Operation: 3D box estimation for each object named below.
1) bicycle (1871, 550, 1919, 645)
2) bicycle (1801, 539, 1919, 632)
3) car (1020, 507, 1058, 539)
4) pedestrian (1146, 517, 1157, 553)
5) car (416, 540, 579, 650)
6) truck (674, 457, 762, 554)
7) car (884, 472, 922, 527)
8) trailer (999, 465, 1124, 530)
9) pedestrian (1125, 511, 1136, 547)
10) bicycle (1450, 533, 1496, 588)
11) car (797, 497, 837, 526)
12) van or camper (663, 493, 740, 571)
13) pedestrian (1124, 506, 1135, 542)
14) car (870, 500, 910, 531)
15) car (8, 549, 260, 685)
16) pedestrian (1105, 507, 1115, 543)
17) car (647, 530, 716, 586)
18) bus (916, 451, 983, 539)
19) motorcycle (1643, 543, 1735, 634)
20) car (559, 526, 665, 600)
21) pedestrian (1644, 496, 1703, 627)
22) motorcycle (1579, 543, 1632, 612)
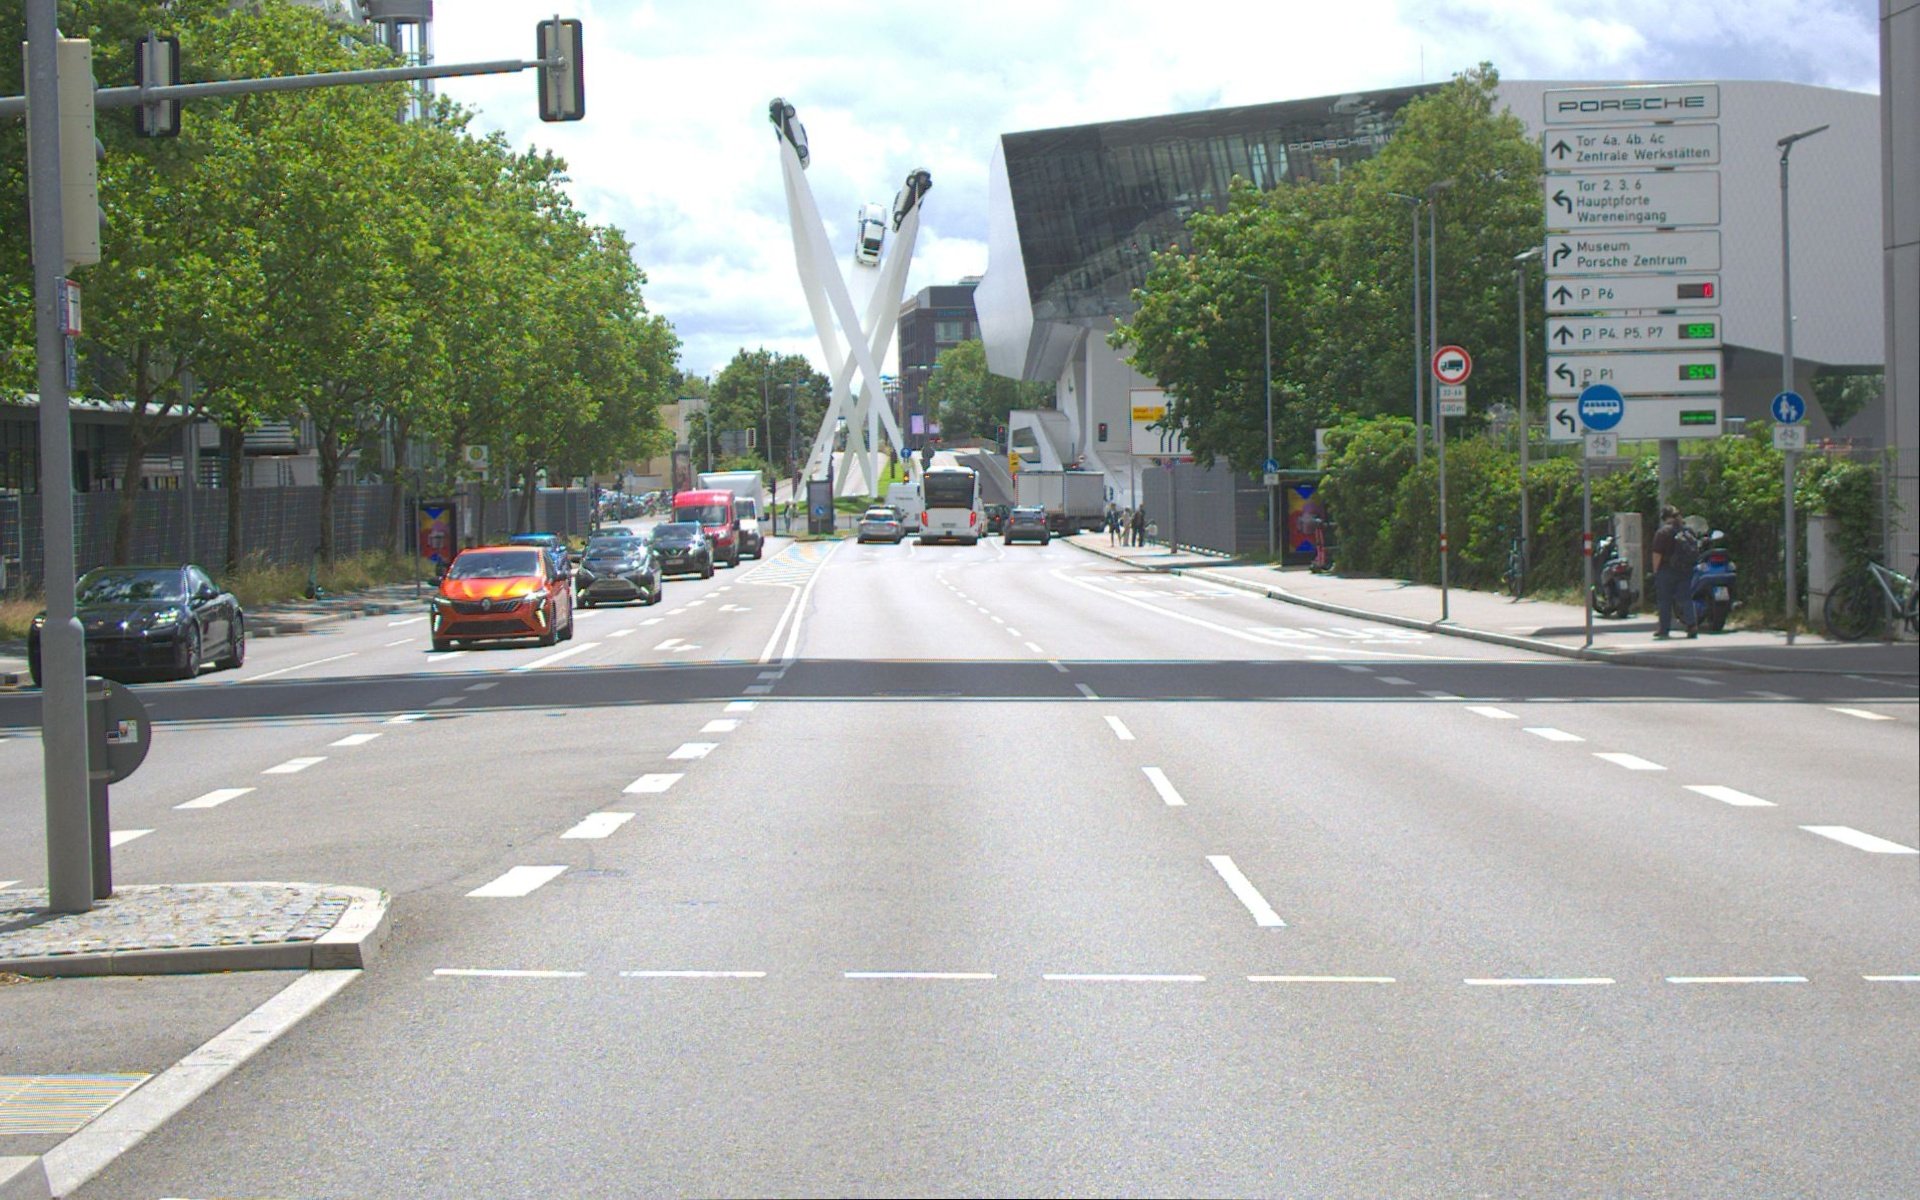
[{"bbox_3d":[11.656,-0.018,39.549,2.222,1.083,0.476,1,1,35],"label":"bicycle"},{"bbox_3d":[11.165,-0.175,40.879,2.222,1.083,0.476,1,1,35],"label":"bicycle"},{"bbox_3d":[3.350,-3.270,146.246,1.557,1.269,3.701,-3,1,1],"label":"car"},{"bbox_3d":[7.437,-2.534,133.865,0.386,1.416,0.423,1,0,0],"label":"pedestrian"},{"bbox_3d":[-6.600,-0.100,49.394,1.769,1.415,3.701,-3,1,0],"label":"car"},{"bbox_3d":[-8.646,-3.325,123.284,2.591,3.312,7.079,1,1,0],"label":"truck"},{"bbox_3d":[-2.831,-4.983,171.111,1.843,2.614,4.000,1,1,-1],"label":"car"},{"bbox_3d":[5.177,-5.101,172.119,3.322,2.984,10.366,1,1,19],"label":"trailer"},{"bbox_3d":[6.650,-2.756,133.874,0.386,1.416,0.423,1,0,0],"label":"pedestrian"},{"bbox_3d":[9.731,-0.743,65.273,0.418,1.019,1.913,1,1,-5],"label":"bicycle"},{"bbox_3d":[-6.466,-4.005,155.692,1.557,1.269,3.701,-3,1,0],"label":"car"},{"bbox_3d":[-8.297,-2.203,110.728,2.047,2.458,5.595,0,1,0],"label":"van or camper"},{"bbox_3d":[6.702,-2.991,136.203,0.386,1.416,0.423,1,0,0],"label":"pedestrian"},{"bbox_3d":[-3.011,-3.661,148.714,1.557,1.269,3.701,-3,1,1],"label":"car"},{"bbox_3d":[-10.232,0.167,42.952,1.917,1.483,4.772,-3,1,0],"label":"car"},{"bbox_3d":[5.972,-2.978,136.944,0.386,1.416,0.423,1,0,0],"label":"pedestrian"},{"bbox_3d":[-7.736,-1.187,95.755,1.557,1.443,3.773,-3,1,0],"label":"car"},{"bbox_3d":[-0.431,-4.528,150.019,2.787,3.673,6.943,1,1,0],"label":"bus"},{"bbox_3d":[9.540,-0.165,45.033,0.418,1.162,1.957,1,1,-11],"label":"motorcycle"},{"bbox_3d":[-7.286,-0.799,72.215,1.769,1.415,3.701,-3,1,0],"label":"car"},{"bbox_3d":[9.001,-0.489,43.406,0.533,1.635,0.658,1,0,-6],"label":"pedestrian"},{"bbox_3d":[9.759,-0.344,52.016,0.457,1.019,1.912,1,1,1],"label":"motorcycle"}]
